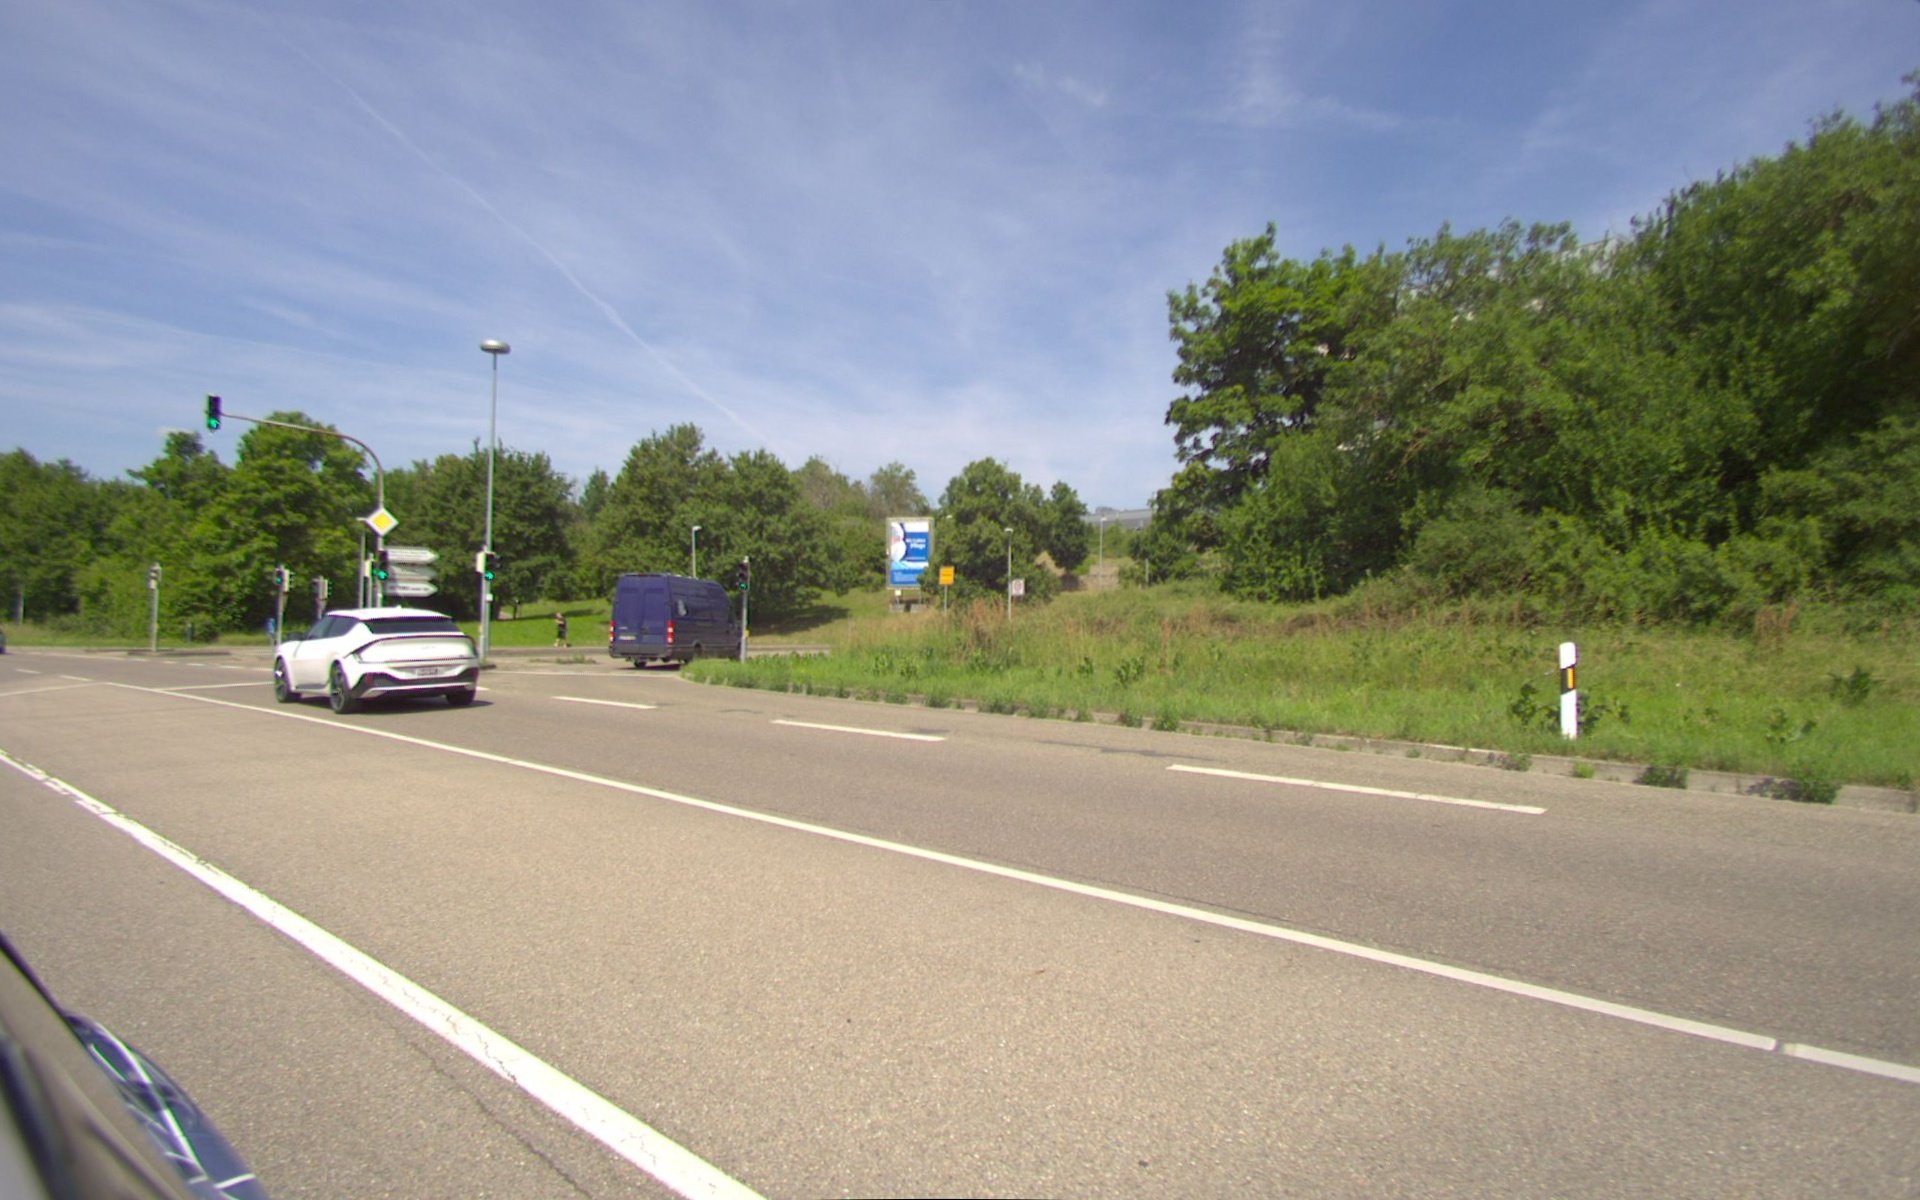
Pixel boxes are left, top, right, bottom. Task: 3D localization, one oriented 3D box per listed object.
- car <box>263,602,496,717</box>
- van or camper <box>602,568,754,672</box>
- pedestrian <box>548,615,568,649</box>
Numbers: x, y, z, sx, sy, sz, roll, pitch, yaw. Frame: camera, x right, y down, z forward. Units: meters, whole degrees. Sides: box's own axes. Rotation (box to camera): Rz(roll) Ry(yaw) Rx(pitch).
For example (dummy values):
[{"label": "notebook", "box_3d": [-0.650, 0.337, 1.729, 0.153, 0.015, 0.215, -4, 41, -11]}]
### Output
[{"label": "car", "box_3d": [-9.420, 0.844, 16.251, 4.627, 1.560, 1.916, -1, 0, 42]}, {"label": "van or camper", "box_3d": [-8.760, 0.776, 32.401, 2.219, 2.936, 7.233, -1, -3, 5]}, {"label": "pedestrian", "box_3d": [-21.241, 1.706, 53.502, 0.906, 1.749, 0.902, -1, 0, -17]}]
